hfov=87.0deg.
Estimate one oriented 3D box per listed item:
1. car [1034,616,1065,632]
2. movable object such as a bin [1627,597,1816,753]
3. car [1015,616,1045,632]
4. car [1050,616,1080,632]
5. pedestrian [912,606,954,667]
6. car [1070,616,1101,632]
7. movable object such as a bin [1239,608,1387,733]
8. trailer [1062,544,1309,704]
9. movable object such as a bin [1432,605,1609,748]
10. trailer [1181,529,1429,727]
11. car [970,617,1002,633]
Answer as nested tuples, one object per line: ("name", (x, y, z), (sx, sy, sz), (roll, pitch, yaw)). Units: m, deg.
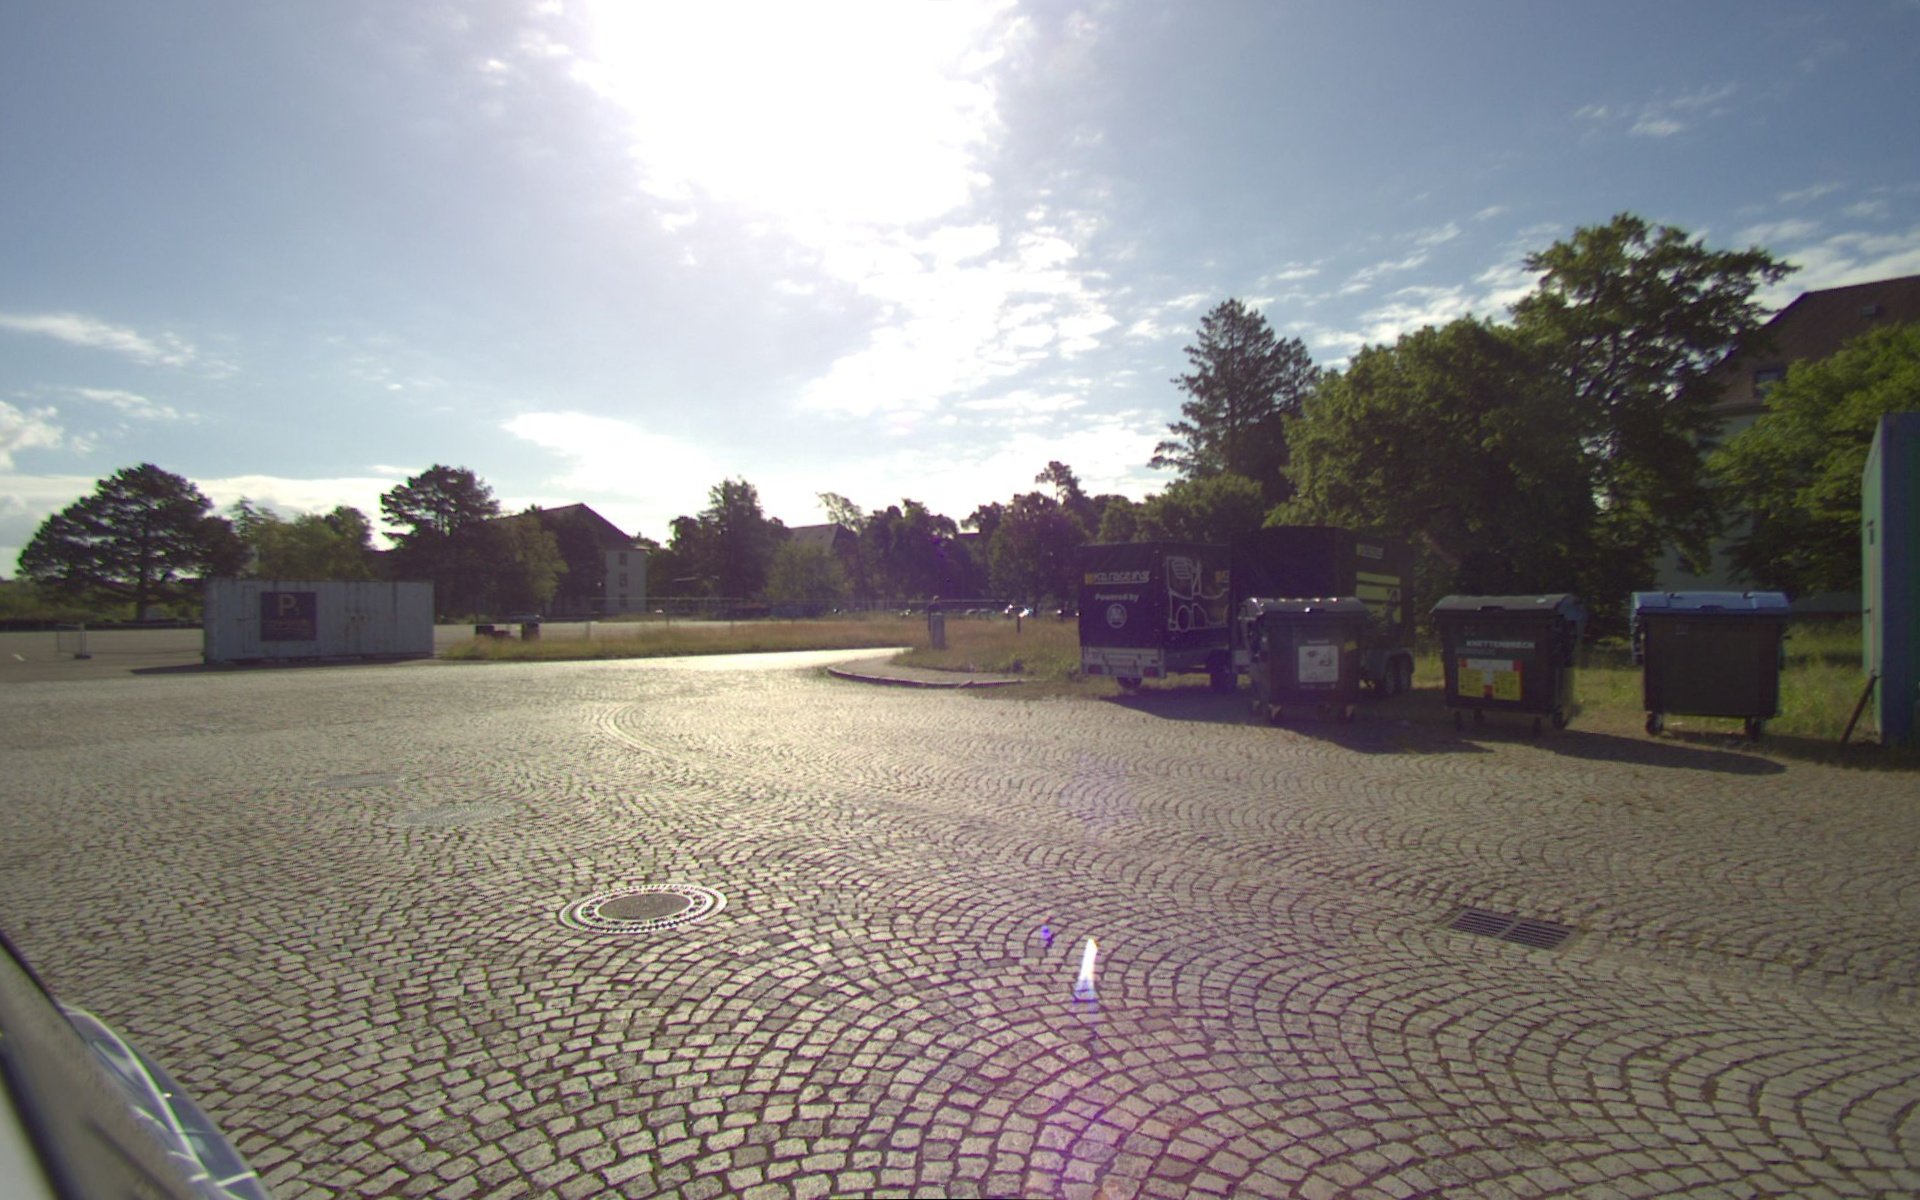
("car", (11.629, 3.040, 130.840), (2.000, 2.029, 3.942), (-1, -2, 44))
("movable object such as a bin", (7.634, 0.709, 10.247), (1.404, 1.447, 1.077), (-1, -1, 32))
("car", (9.136, 3.107, 131.707), (1.999, 1.962, 3.945), (-1, -1, 41))
("car", (13.212, 3.003, 127.077), (1.996, 2.029, 3.952), (-1, -1, 35))
("pedestrian", (-0.874, 1.179, 32.878), (0.800, 1.929, 1.125), (-1, -2, 45))
("car", (15.540, 2.942, 125.235), (2.000, 2.029, 3.944), (-1, -1, 42))
("movable object such as a bin", (4.086, 0.796, 11.830), (1.346, 1.396, 1.047), (0, -1, 1))
("trailer", (3.848, 0.334, 16.801), (2.014, 2.290, 4.404), (-1, 0, 43))
("movable object such as a bin", (5.948, 0.757, 10.763), (1.067, 1.396, 1.370), (1, -1, -43))
("trailer", (5.192, 0.339, 14.763), (1.940, 2.409, 4.793), (-1, 0, 38))
("car", (3.504, 3.393, 137.100), (3.936, 2.029, 2.003), (0, -4, -40))
